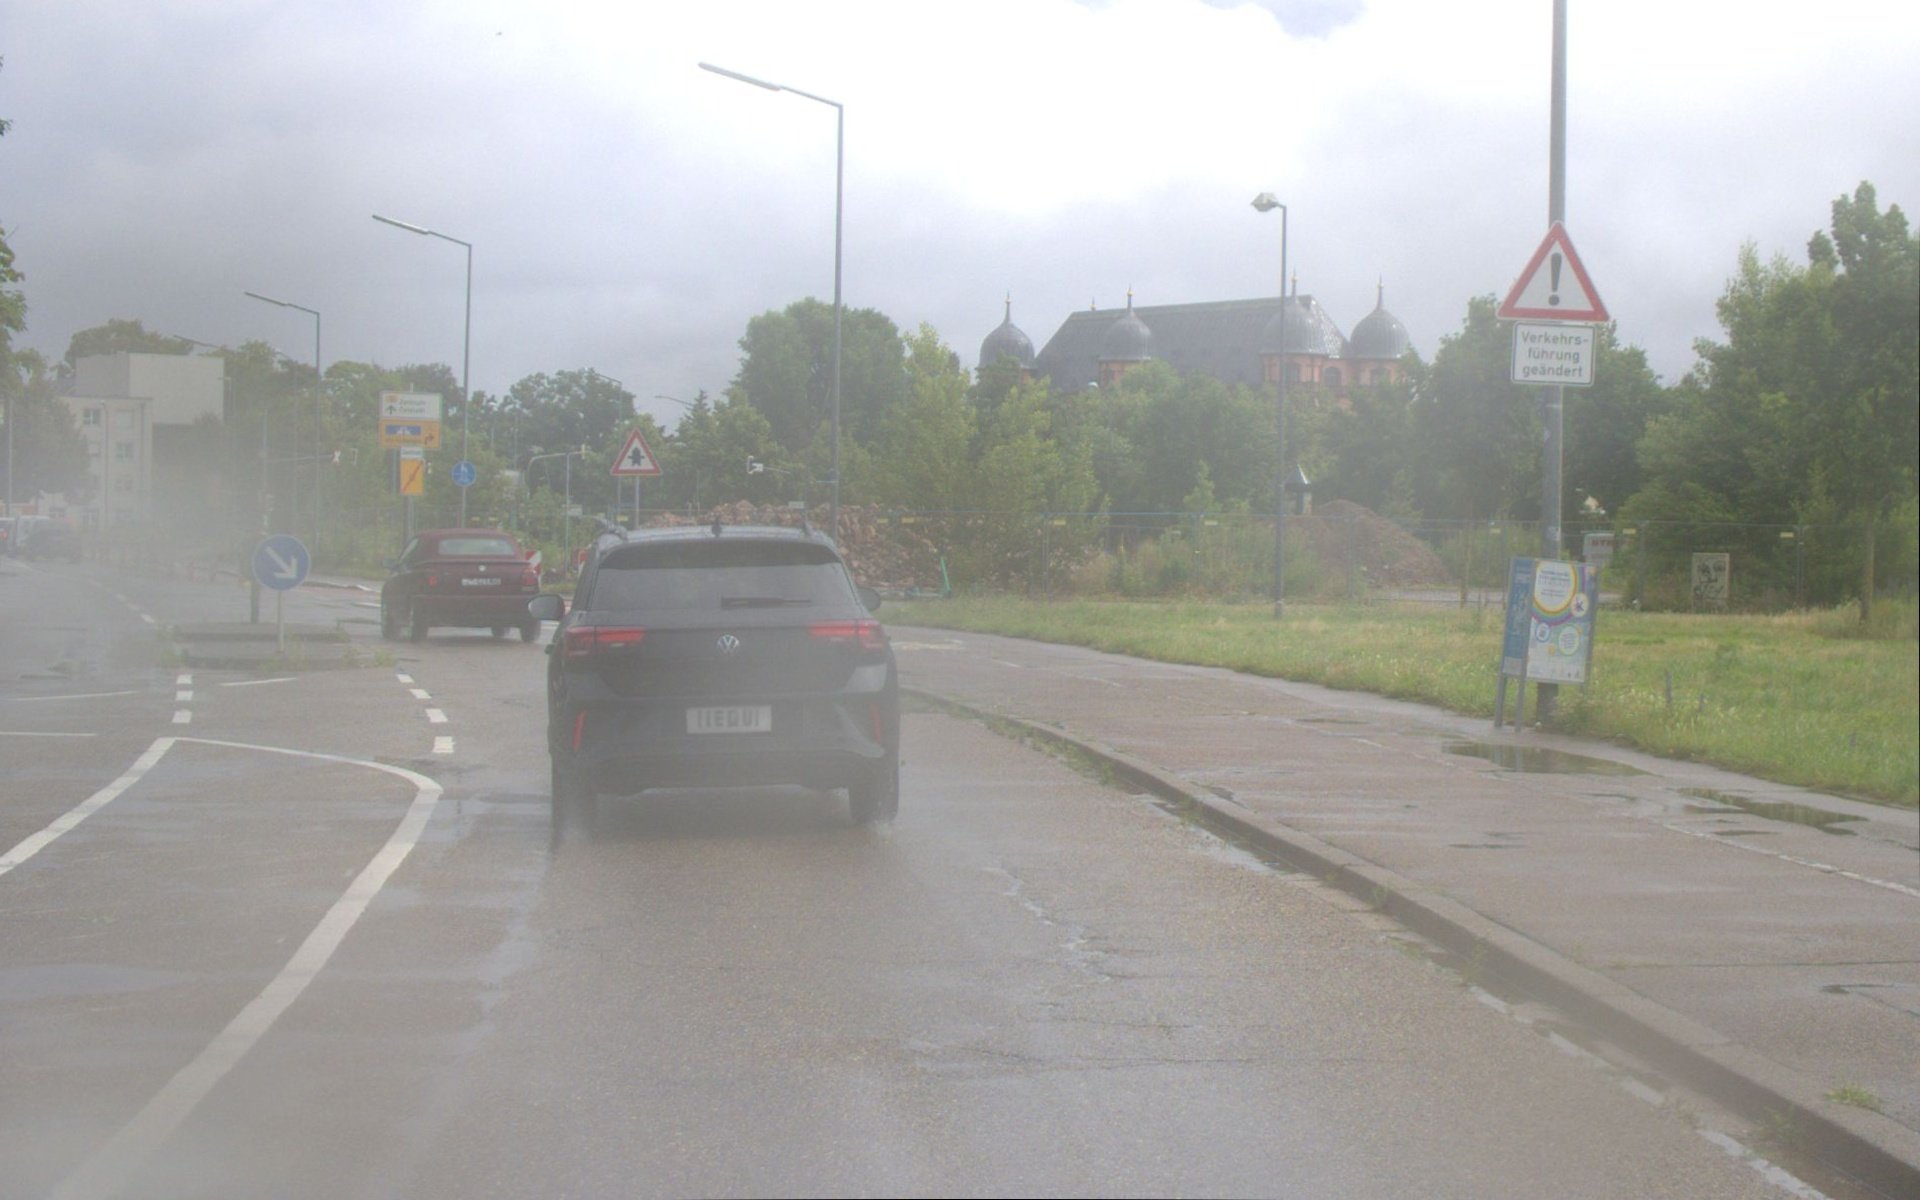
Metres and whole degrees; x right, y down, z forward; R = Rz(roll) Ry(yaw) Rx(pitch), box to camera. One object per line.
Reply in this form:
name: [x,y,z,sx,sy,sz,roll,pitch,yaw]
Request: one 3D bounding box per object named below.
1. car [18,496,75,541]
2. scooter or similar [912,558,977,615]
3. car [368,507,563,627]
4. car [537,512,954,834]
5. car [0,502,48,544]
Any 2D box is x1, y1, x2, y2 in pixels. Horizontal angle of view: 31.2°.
car: [-34.249,-3.050,128.804,1.840,1.635,4.017,1,1,-18]
scooter or similar: [-0.351,-0.308,77.455,1.282,1.183,0.502,5,3,24]
car: [-6.430,-0.428,44.356,1.841,1.437,4.001,-2,1,-17]
car: [-1.219,0.300,18.595,1.986,1.515,4.001,-1,2,-5]
car: [-38.906,-3.189,142.270,1.995,1.697,4.017,1,1,-18]
